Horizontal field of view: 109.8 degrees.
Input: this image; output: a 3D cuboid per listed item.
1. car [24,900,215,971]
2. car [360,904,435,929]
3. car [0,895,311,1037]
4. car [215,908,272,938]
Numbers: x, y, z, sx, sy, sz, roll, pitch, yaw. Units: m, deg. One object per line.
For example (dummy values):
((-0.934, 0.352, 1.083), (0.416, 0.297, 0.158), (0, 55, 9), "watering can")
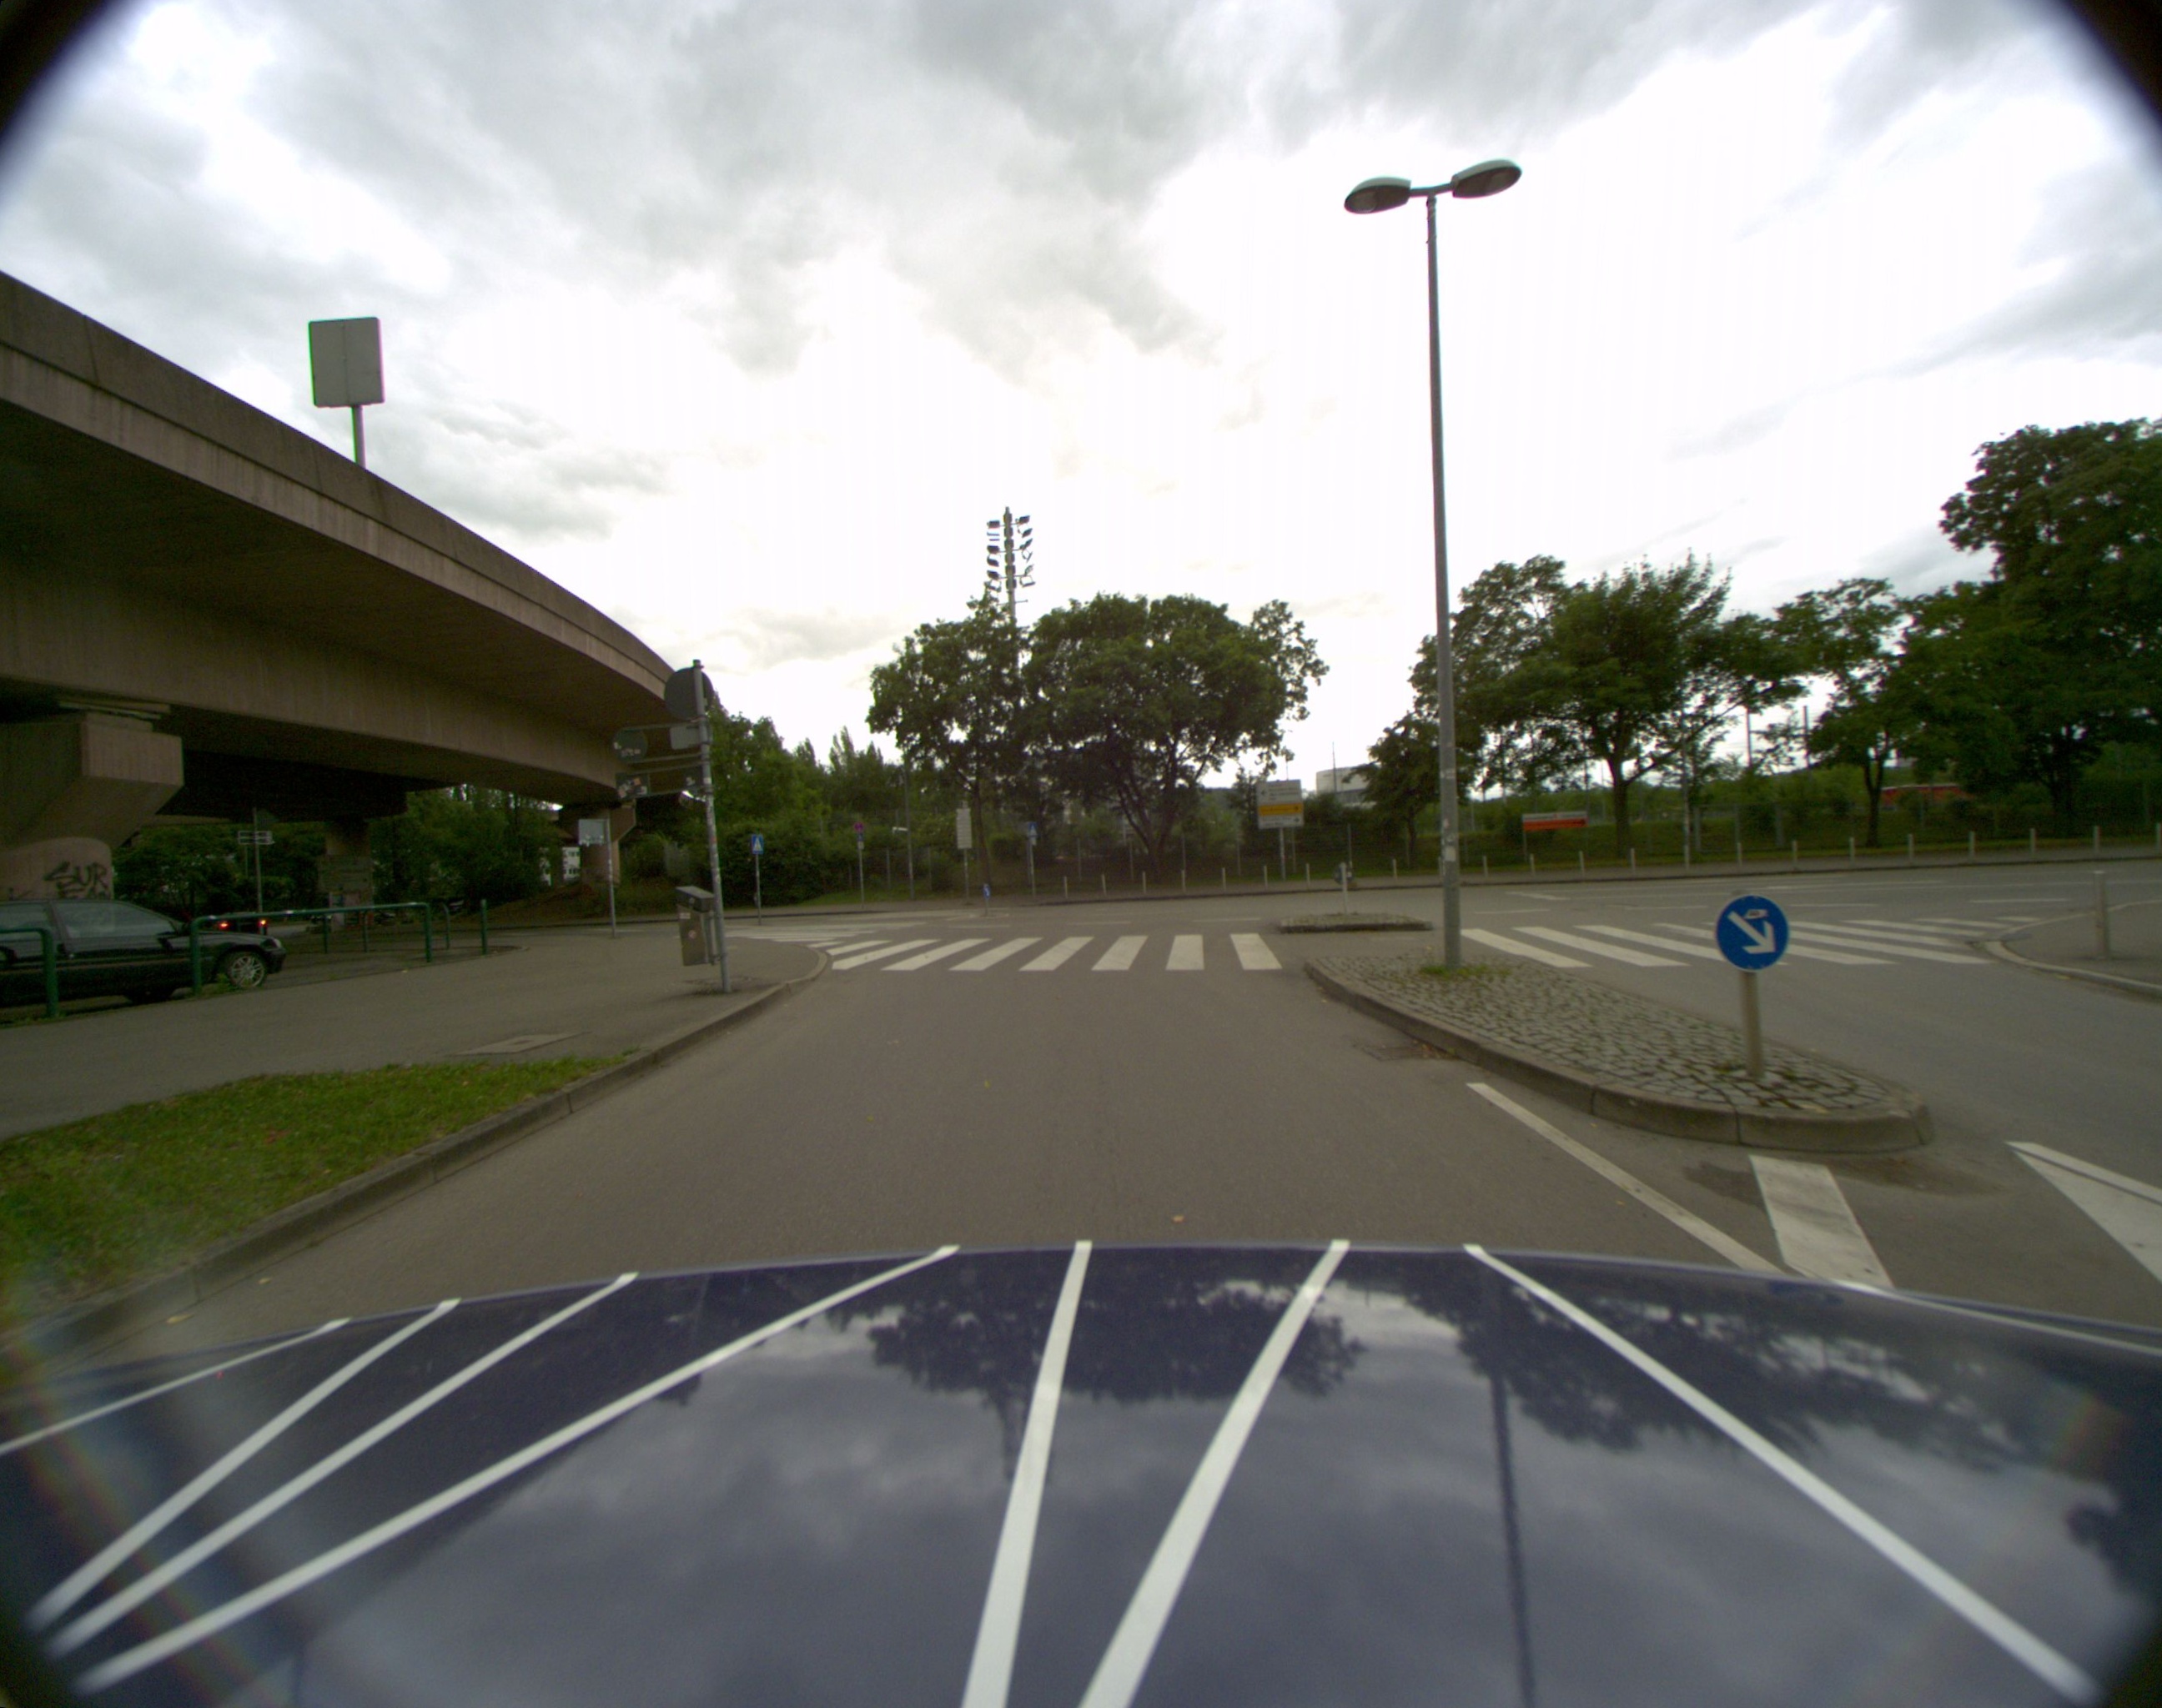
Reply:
((-22.544, 1.904, 17.828), (3.572, 1.389, 1.613), (-3, 1, 19), "car")
((-50.997, 4.641, 56.839), (1.828, 1.422, 4.770), (-5, 0, -10), "car")
((-11.938, 1.303, 9.002), (1.508, 1.322, 3.702), (-4, 0, 9), "car")
((-49.297, 4.040, 44.700), (4.538, 1.565, 1.849), (-4, -1, 38), "car")
